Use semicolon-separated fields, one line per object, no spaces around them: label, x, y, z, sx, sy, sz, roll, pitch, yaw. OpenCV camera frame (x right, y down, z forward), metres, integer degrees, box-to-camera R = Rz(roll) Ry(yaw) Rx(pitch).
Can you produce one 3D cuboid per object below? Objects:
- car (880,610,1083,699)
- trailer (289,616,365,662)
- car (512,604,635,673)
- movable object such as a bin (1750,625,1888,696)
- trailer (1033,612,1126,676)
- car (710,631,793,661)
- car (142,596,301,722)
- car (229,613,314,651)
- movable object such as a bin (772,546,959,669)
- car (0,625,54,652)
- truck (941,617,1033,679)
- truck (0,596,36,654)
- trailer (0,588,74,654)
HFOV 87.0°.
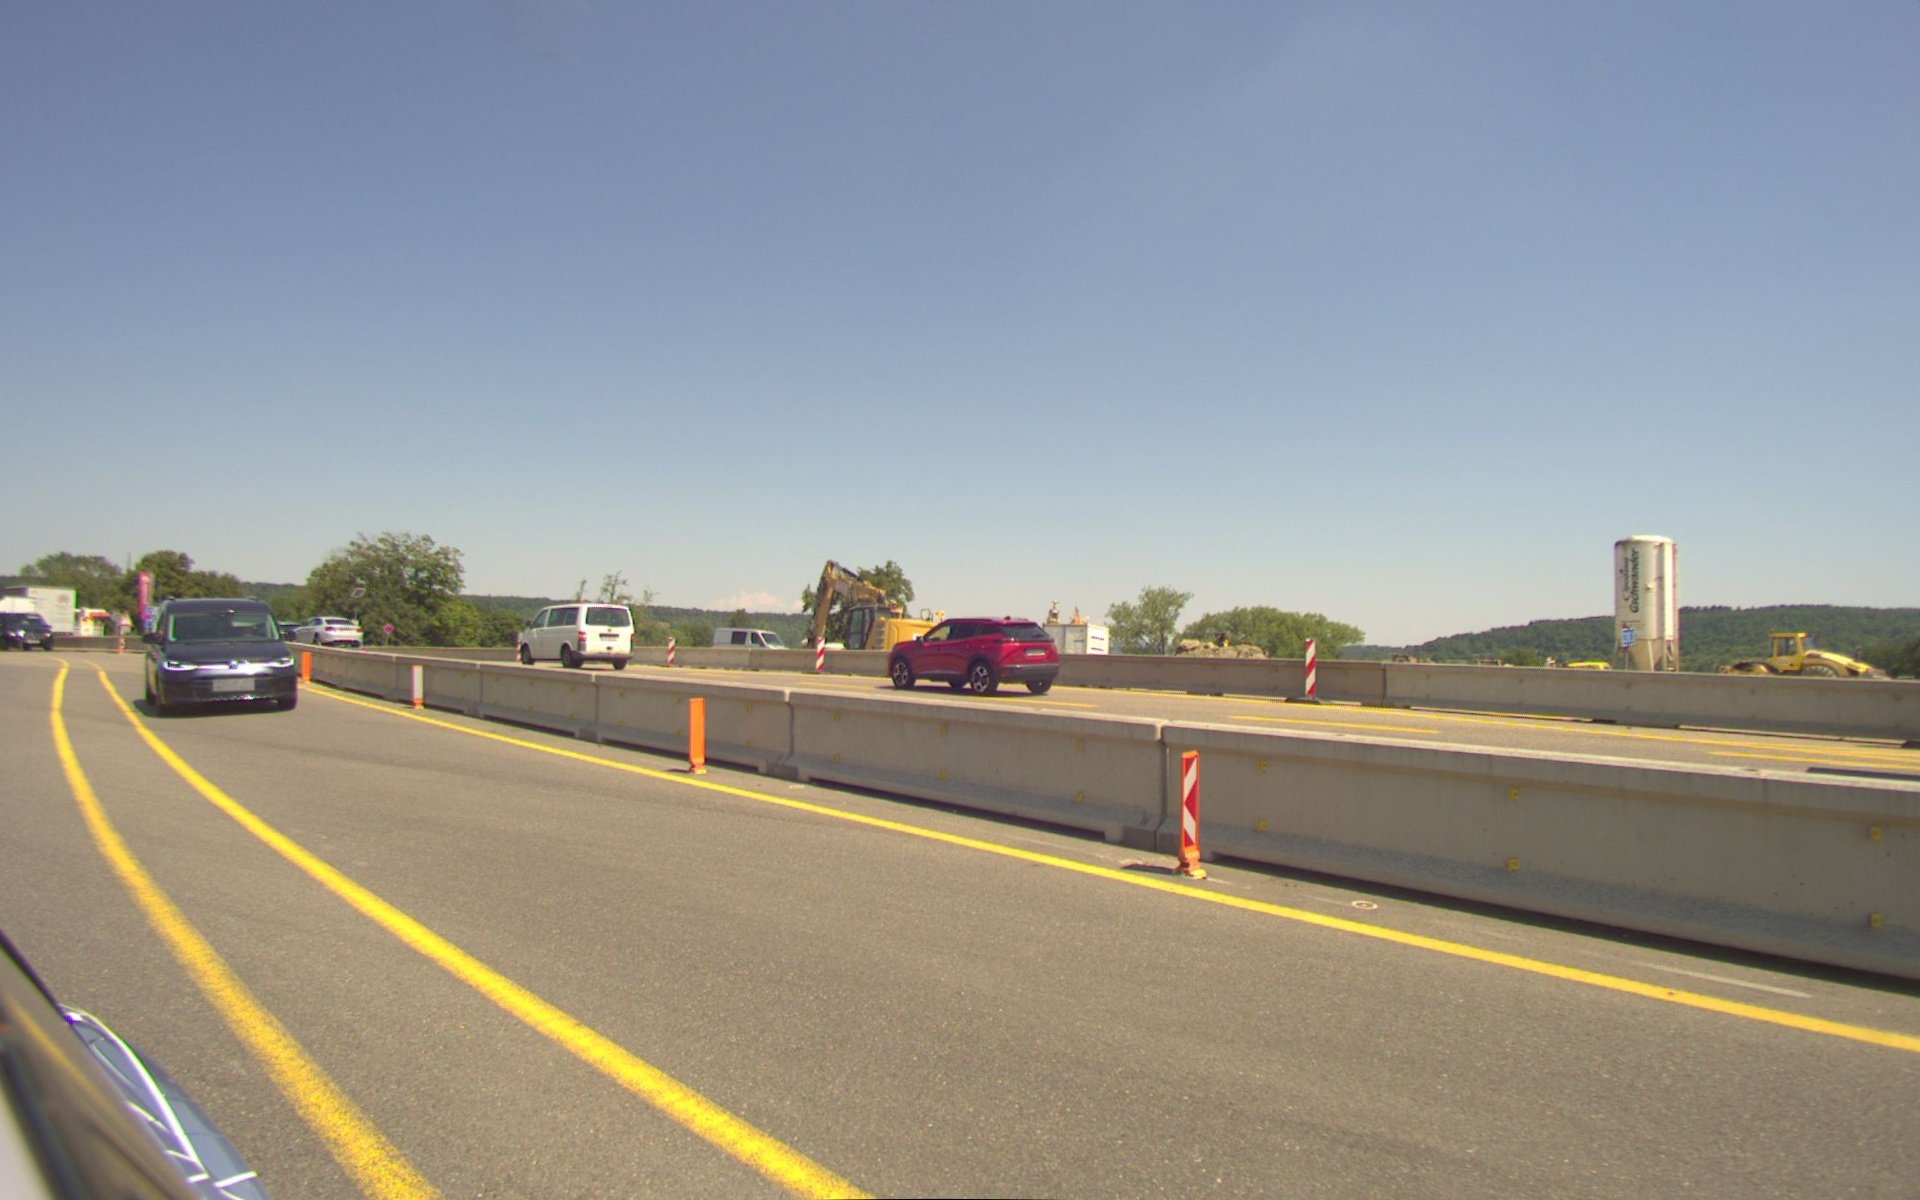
car;0.337;1.090;20.851;1.699;1.640;4.342;3;-3;-41
trailer;-29.786;1.824;47.561;4.435;2.037;1.846;-2;-3;42
car;-12.135;1.205;31.602;1.843;1.968;4.896;3;-3;-43
movable object such as a bin;39.904;2.764;47.118;1.967;3.165;4.496;2;-3;-36
trailer;6.137;2.232;51.266;2.870;3.020;5.528;-1;-3;28
car;-12.385;2.699;60.042;4.862;1.726;1.709;-1;-3;28
car;-12.398;0.900;16.928;1.896;1.803;4.612;1;-2;-38
car;-34.841;1.626;51.176;4.893;1.820;1.850;-1;-3;34
movable object such as a bin;-4.033;0.446;40.497;2.886;4.363;9.345;2;-3;-37
car;-46.036;1.878;49.256;3.983;1.271;1.698;-1;-3;30
truck;1.407;2.486;52.879;4.245;3.067;2.326;-1;-3;29
truck;-59.328;1.528;61.305;6.891;3.407;2.564;-1;-3;26
trailer;-64.129;1.446;67.916;13.004;4.184;2.570;-1;-3;28
